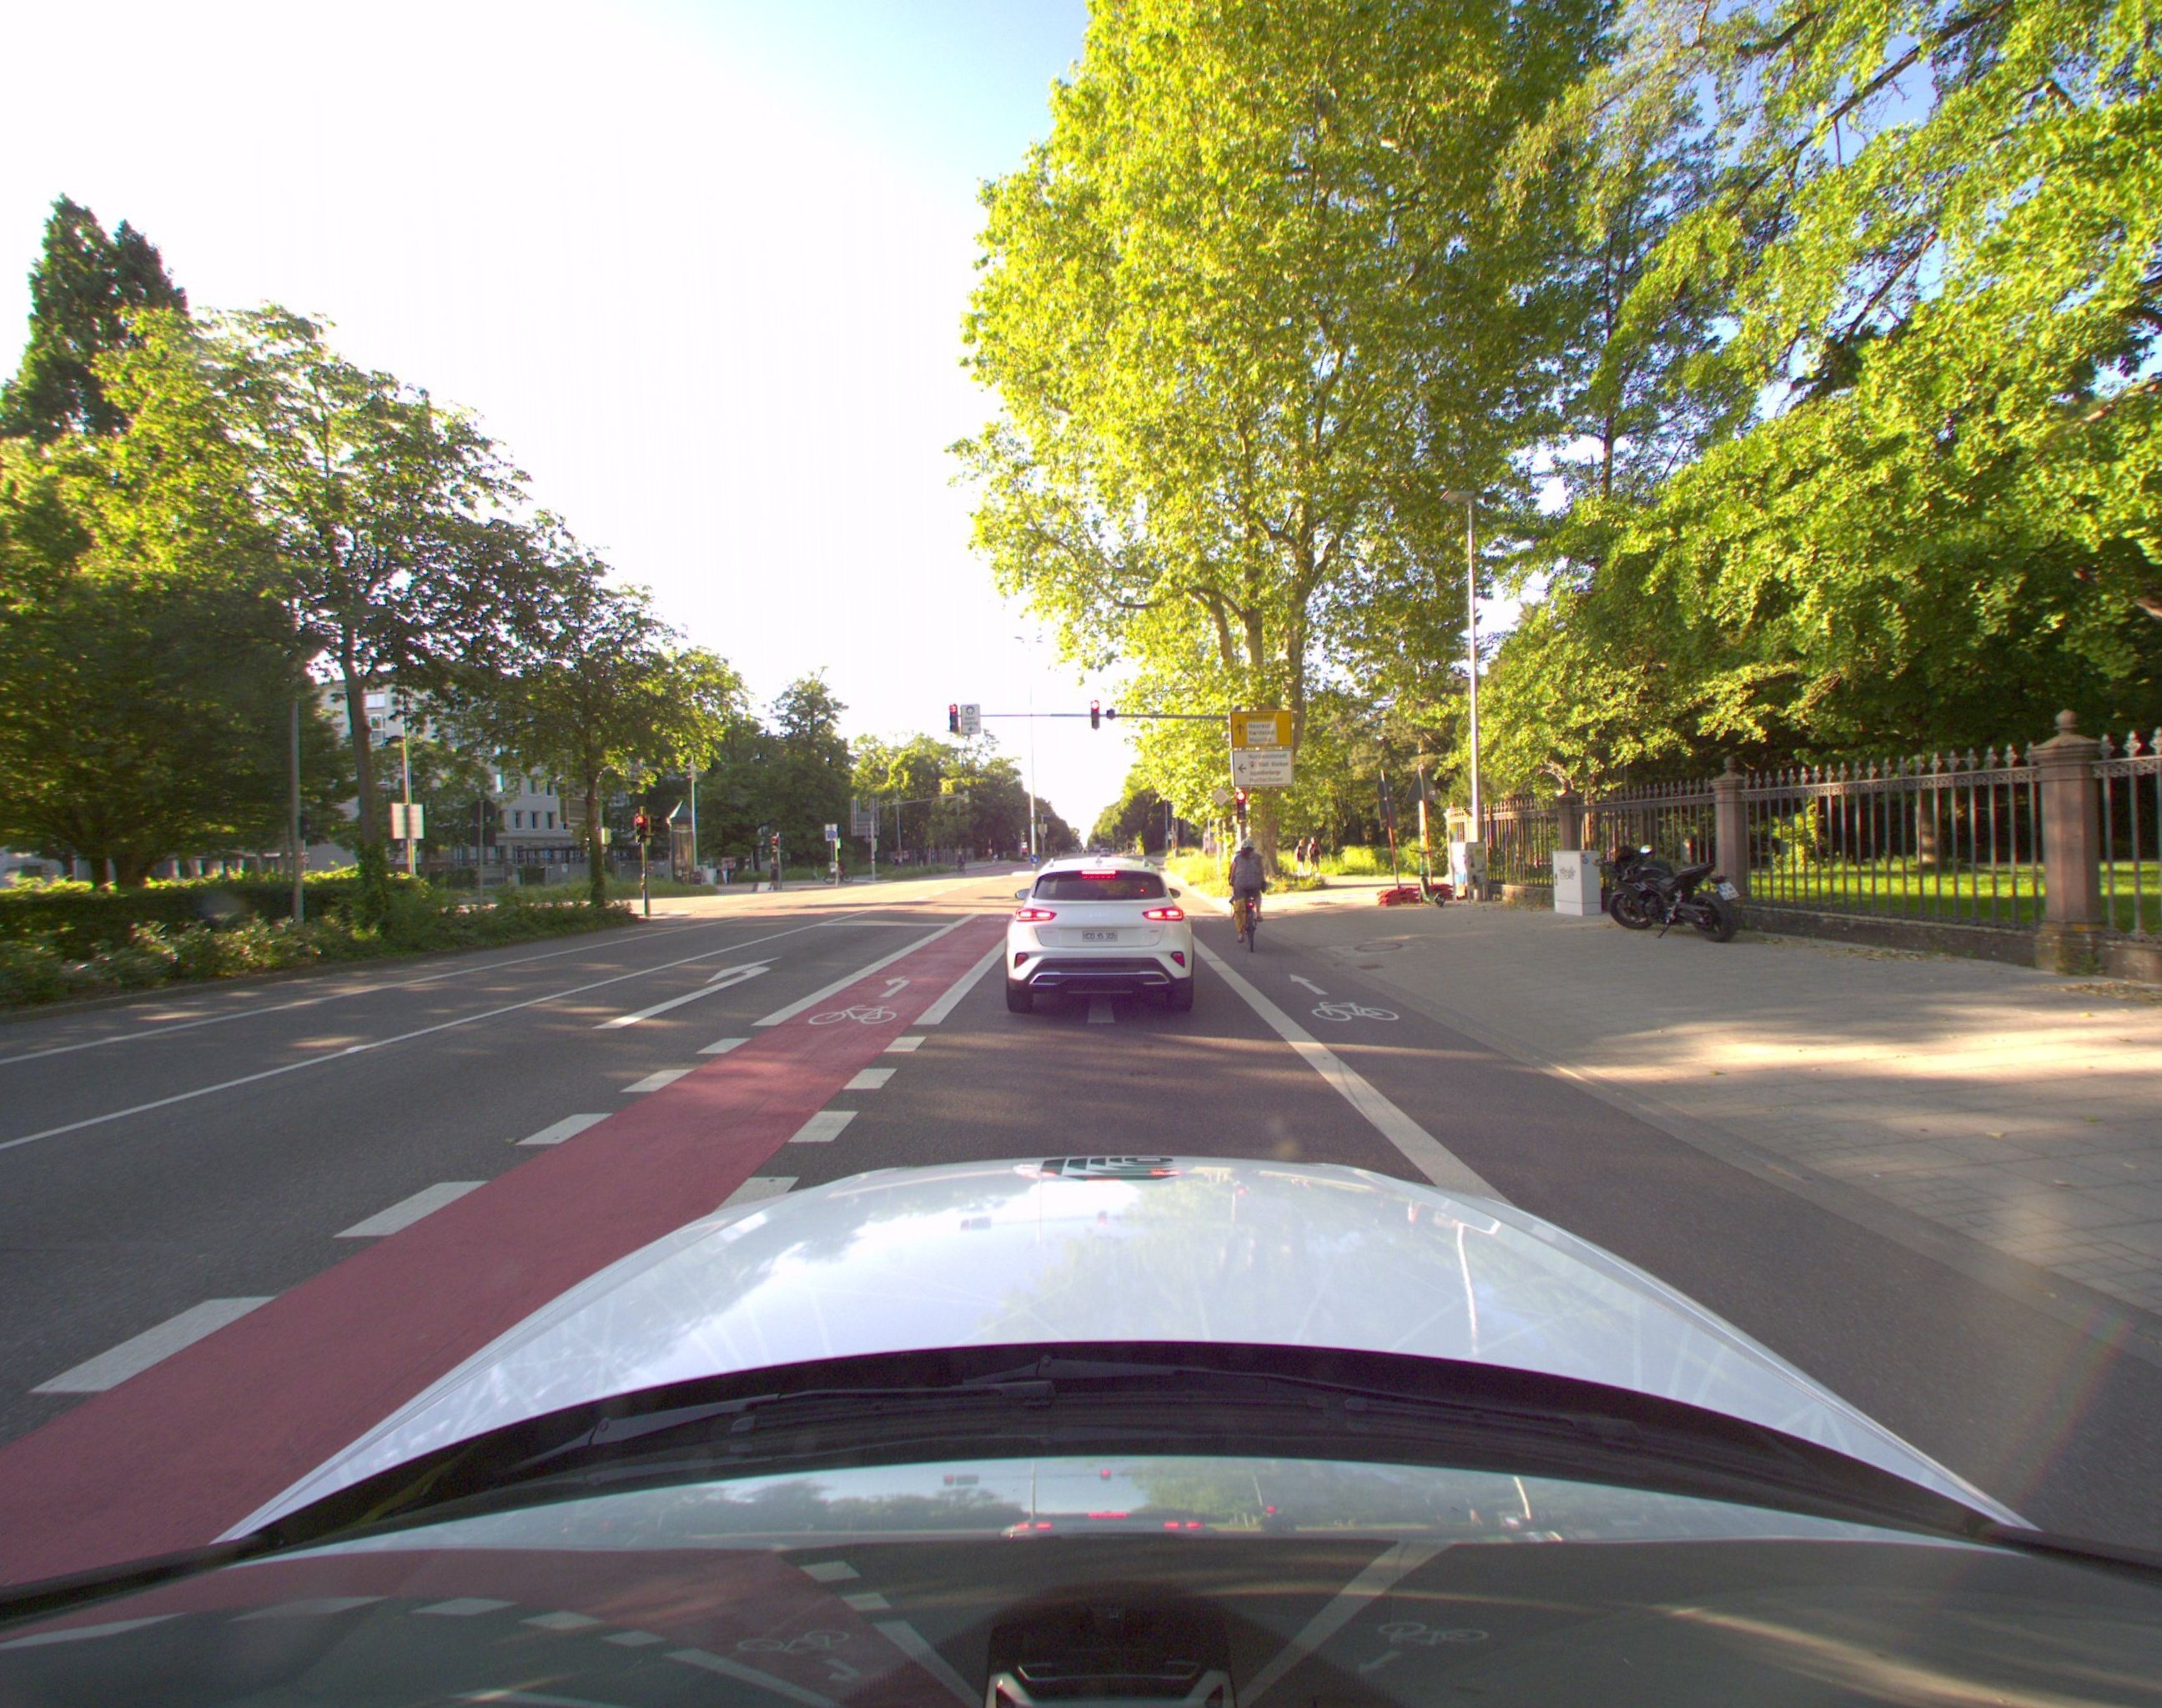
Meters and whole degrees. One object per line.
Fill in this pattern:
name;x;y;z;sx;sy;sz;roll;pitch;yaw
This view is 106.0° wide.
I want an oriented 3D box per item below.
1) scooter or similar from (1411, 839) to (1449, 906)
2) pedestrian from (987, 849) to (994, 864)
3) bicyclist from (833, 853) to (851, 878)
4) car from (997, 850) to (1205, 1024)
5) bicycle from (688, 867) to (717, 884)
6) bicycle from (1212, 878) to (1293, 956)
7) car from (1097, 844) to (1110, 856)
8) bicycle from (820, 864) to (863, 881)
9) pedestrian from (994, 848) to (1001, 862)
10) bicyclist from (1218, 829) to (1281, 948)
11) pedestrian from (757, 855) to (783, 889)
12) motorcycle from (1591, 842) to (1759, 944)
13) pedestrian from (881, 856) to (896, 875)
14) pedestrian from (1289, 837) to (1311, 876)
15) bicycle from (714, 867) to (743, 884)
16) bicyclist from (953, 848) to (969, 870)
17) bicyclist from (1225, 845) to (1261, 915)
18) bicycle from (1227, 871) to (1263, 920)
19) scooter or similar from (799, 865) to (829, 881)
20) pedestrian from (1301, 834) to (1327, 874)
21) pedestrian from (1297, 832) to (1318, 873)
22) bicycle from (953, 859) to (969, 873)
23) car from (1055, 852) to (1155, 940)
scooter or similar;7.242;0.369;16.924;0.227;1.327;1.172;-3;0;1
pedestrian;-11.834;0.321;106.545;0.637;2.014;0.756;-1;-1;12
bicyclist;-16.089;0.758;54.800;0.978;1.606;0.871;-3;0;-22
car;0.199;0.725;9.175;1.815;1.480;3.936;-1;0;0
bicycle;-26.137;1.485;56.284;1.851;1.148;0.444;-1;0;9
bicycle;2.639;0.935;12.812;0.755;1.013;2.569;0;0;0
car;3.916;-0.671;141.114;1.986;2.013;4.002;-3;0;2
bicycle;-16.092;1.248;54.789;2.717;0.989;0.577;-3;0;-22
pedestrian;-11.028;0.153;107.011;0.782;1.785;0.752;-1;0;2
bicyclist;2.639;0.520;12.861;0.750;1.795;1.165;0;0;0
pedestrian;-18.706;1.081;49.022;0.990;2.014;1.193;-1;0;7
motorcycle;7.429;0.450;10.343;0.504;1.131;2.170;-3;0;1
pedestrian;-17.115;1.034;72.561;1.086;1.603;0.999;-2;0;-5
pedestrian;9.723;0.113;36.181;0.688;1.699;0.643;-3;0;-5
bicycle;-24.209;1.454;55.961;1.859;1.148;0.290;-1;-1;-5
bicyclist;-9.200;0.402;62.332;0.871;1.608;1.189;-3;0;4
bicyclist;3.571;0.561;18.017;0.552;1.478;0.717;-5;0;0
bicycle;3.600;0.892;17.959;0.400;0.956;1.551;-5;0;1
scooter or similar;-18.871;1.345;57.591;0.703;1.124;1.933;-1;0;34
pedestrian;10.566;0.006;36.895;0.816;1.771;0.831;-3;0;-5
pedestrian;10.119;-0.075;36.399;0.614;1.771;0.646;-3;0;-5
bicycle;-9.177;0.904;62.298;0.660;0.989;2.507;-3;0;4
car;0.441;0.740;16.277;1.723;1.483;3.517;-2;0;0
